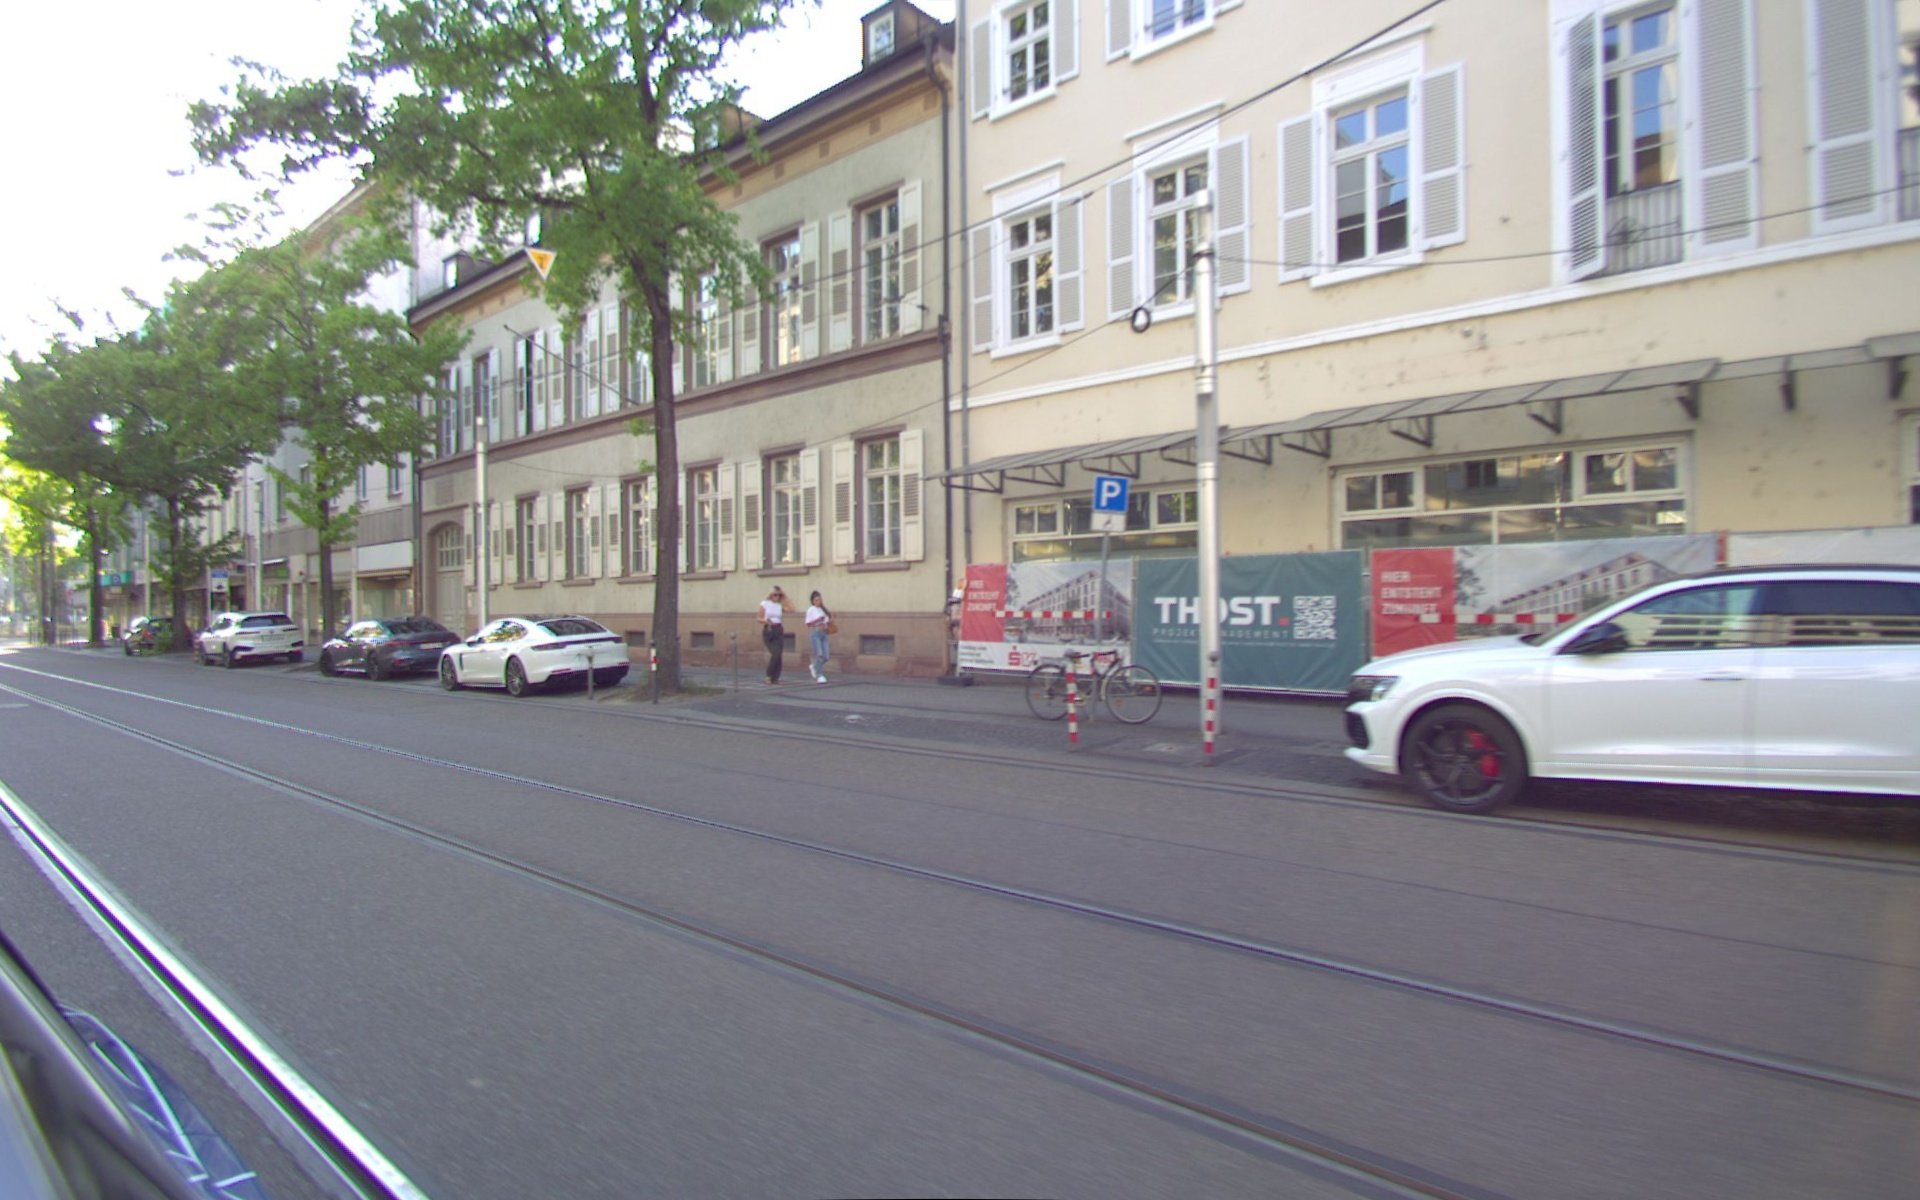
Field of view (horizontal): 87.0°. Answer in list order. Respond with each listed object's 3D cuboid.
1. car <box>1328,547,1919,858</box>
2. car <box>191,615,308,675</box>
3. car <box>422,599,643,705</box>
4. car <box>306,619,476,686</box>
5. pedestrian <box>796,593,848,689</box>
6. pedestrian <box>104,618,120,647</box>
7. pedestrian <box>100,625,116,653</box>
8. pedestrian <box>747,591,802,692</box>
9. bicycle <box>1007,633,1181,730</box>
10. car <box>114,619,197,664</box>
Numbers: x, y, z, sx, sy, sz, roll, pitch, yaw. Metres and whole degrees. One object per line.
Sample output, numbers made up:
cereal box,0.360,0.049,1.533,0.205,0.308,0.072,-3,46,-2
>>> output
car,5.331,0.563,6.806,5.012,1.704,1.941,-1,0,43
car,-22.572,1.364,32.064,4.811,1.652,1.941,-1,2,42
car,-8.264,0.902,19.319,4.908,1.652,1.926,-1,3,42
car,-13.887,1.208,24.602,4.841,1.423,1.943,-1,0,39
pedestrian,-2.486,0.726,18.244,0.647,1.692,0.667,-2,-1,41
pedestrian,-60.420,2.293,72.105,0.734,2.029,0.788,-1,0,42
pedestrian,-62.481,2.850,74.192,0.734,2.029,0.788,-1,0,42
pedestrian,-3.270,0.720,17.839,0.656,1.734,0.679,-2,-1,41
bicycle,1.567,0.936,12.081,2.003,1.058,0.588,-1,-1,34
car,-33.414,1.698,41.985,3.998,1.652,1.942,-1,2,41
